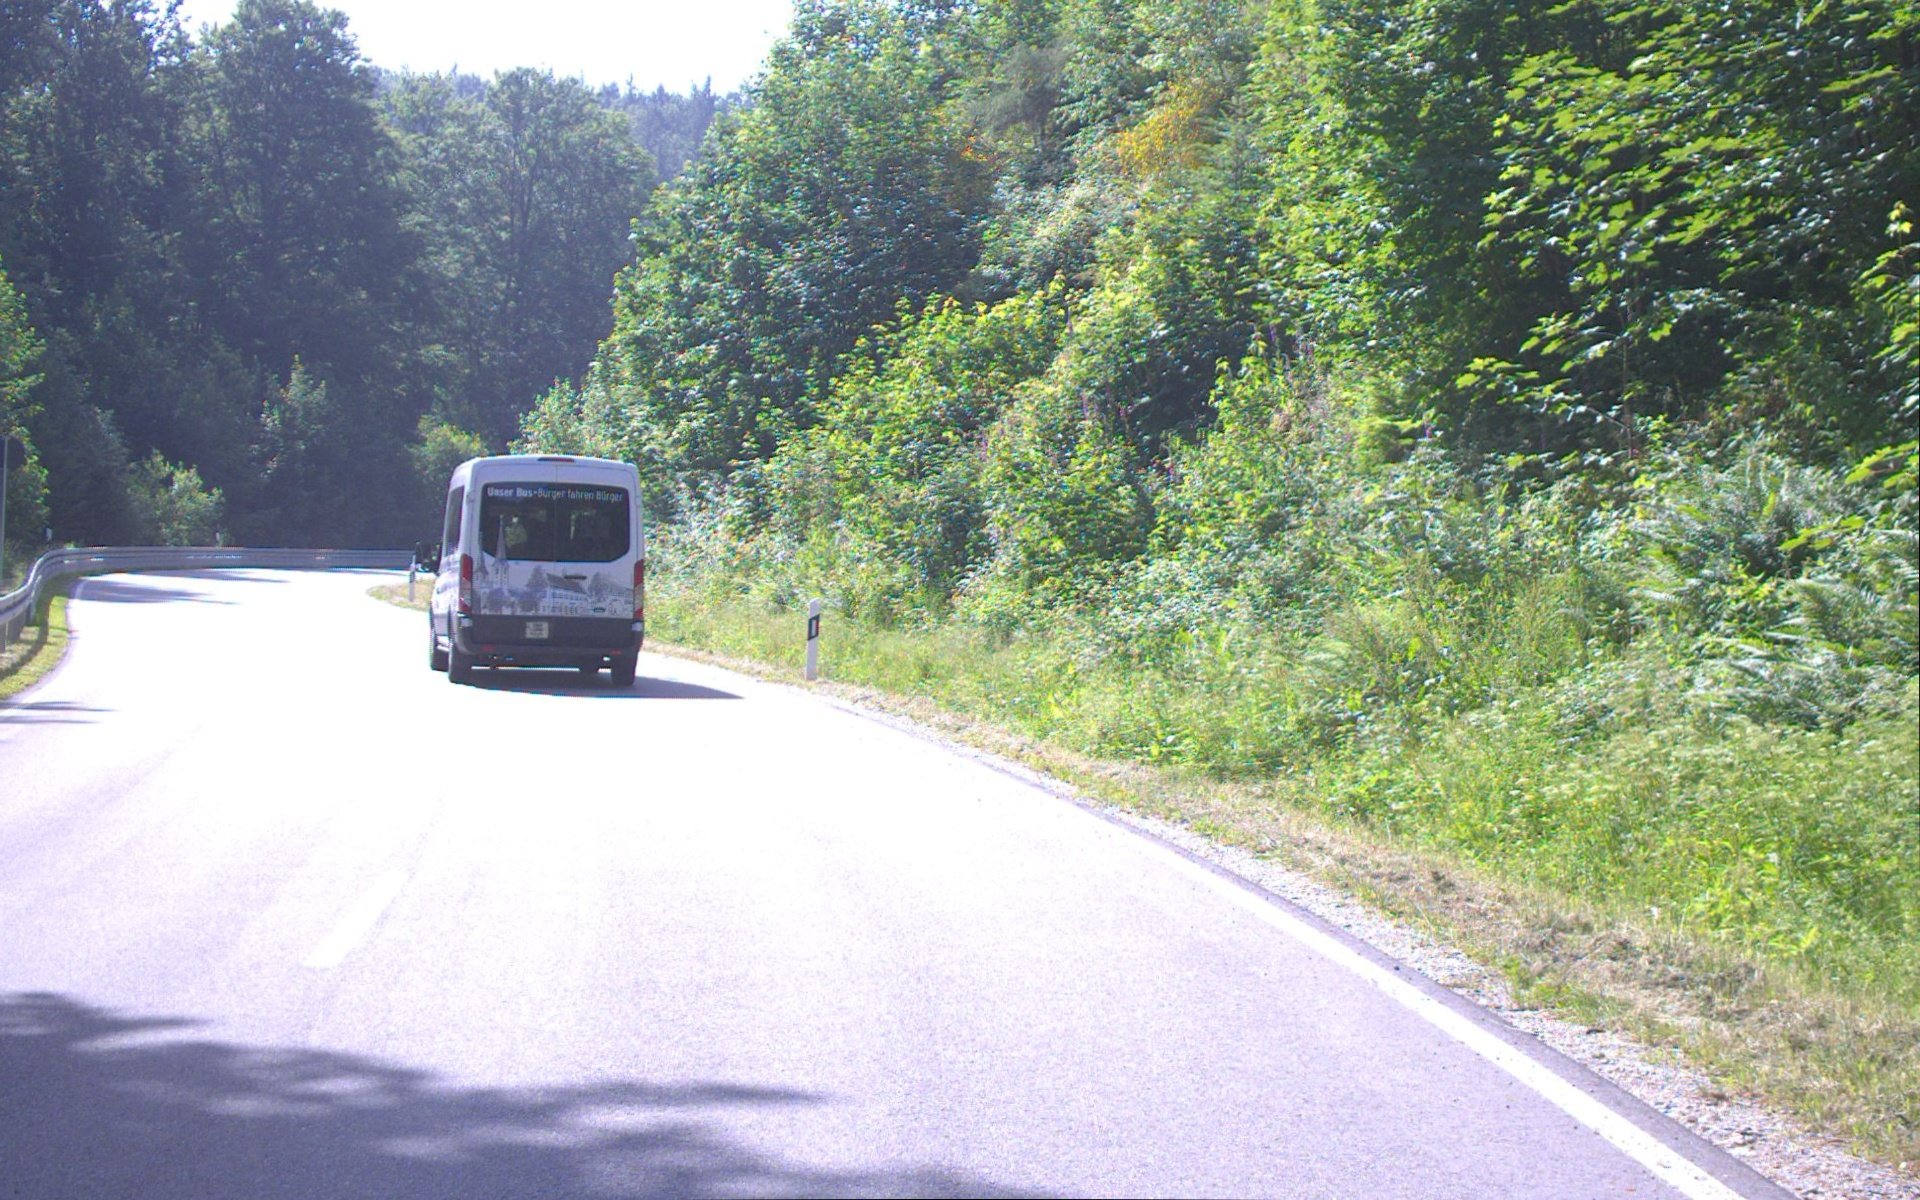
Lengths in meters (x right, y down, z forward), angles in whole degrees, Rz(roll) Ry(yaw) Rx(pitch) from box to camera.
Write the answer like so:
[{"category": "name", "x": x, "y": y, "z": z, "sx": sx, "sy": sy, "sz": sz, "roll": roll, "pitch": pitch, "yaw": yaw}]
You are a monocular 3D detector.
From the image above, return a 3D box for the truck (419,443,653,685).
[{"category": "truck", "x": -4.845, "y": -0.418, "z": 38.601, "sx": 2.115, "sy": 2.490, "sz": 5.361, "roll": 1, "pitch": 1, "yaw": -12}]
